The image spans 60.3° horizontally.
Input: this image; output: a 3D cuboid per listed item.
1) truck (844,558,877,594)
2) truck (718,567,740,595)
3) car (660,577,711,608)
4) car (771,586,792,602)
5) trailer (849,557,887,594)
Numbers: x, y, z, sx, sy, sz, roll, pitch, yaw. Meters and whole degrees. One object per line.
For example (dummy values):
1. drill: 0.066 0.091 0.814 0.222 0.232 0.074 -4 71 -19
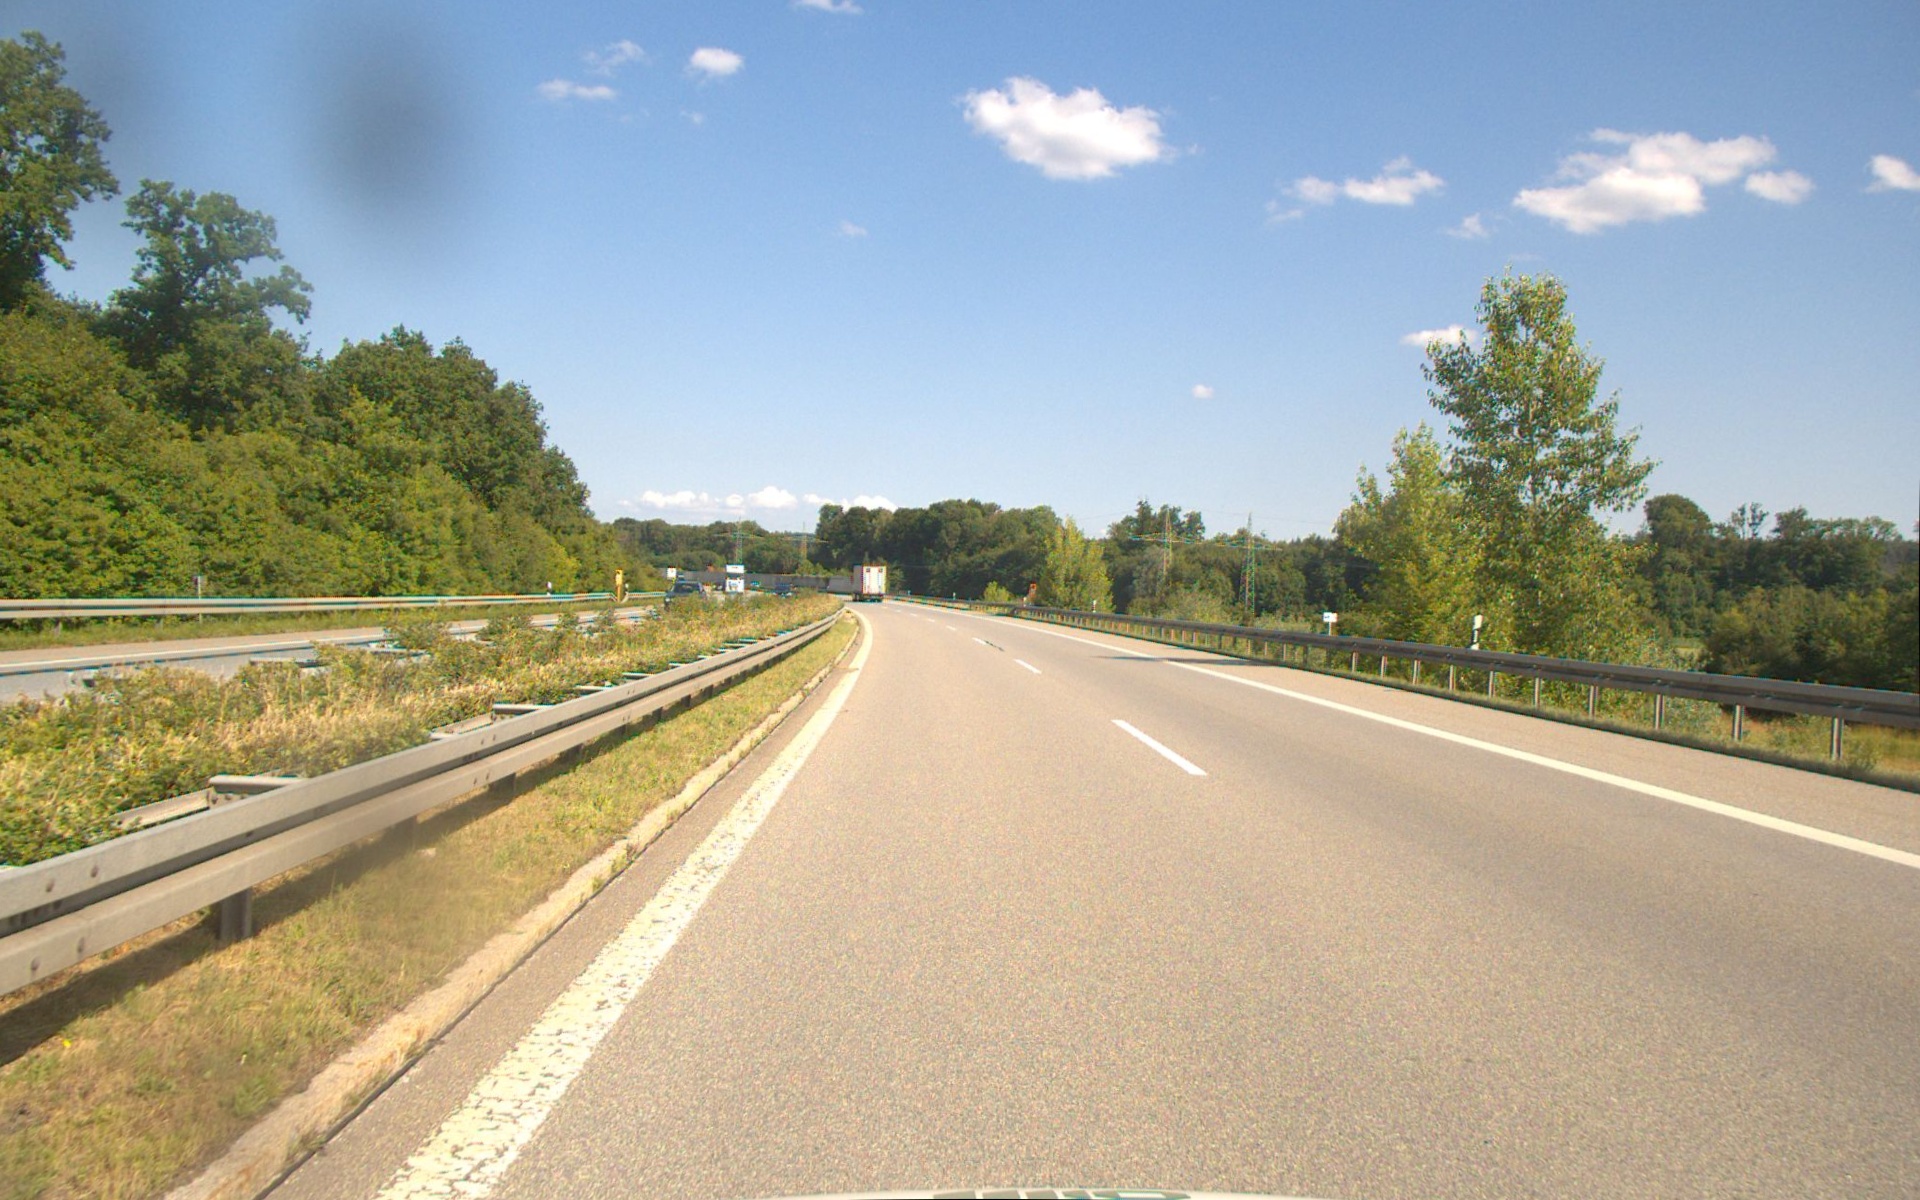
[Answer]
1. truck: -11.771 -2.829 195.101 2.781 4.082 6.567 1 1 -12
2. truck: -31.195 -2.542 223.184 2.691 3.792 5.958 1 0 -10
3. car: -13.477 -0.377 81.388 1.954 1.457 4.484 0 1 -3
4. car: -16.180 -0.566 149.819 1.697 1.453 3.874 0 0 -8
5. trailer: -10.563 -2.783 188.744 2.832 4.137 12.391 1 1 -10
